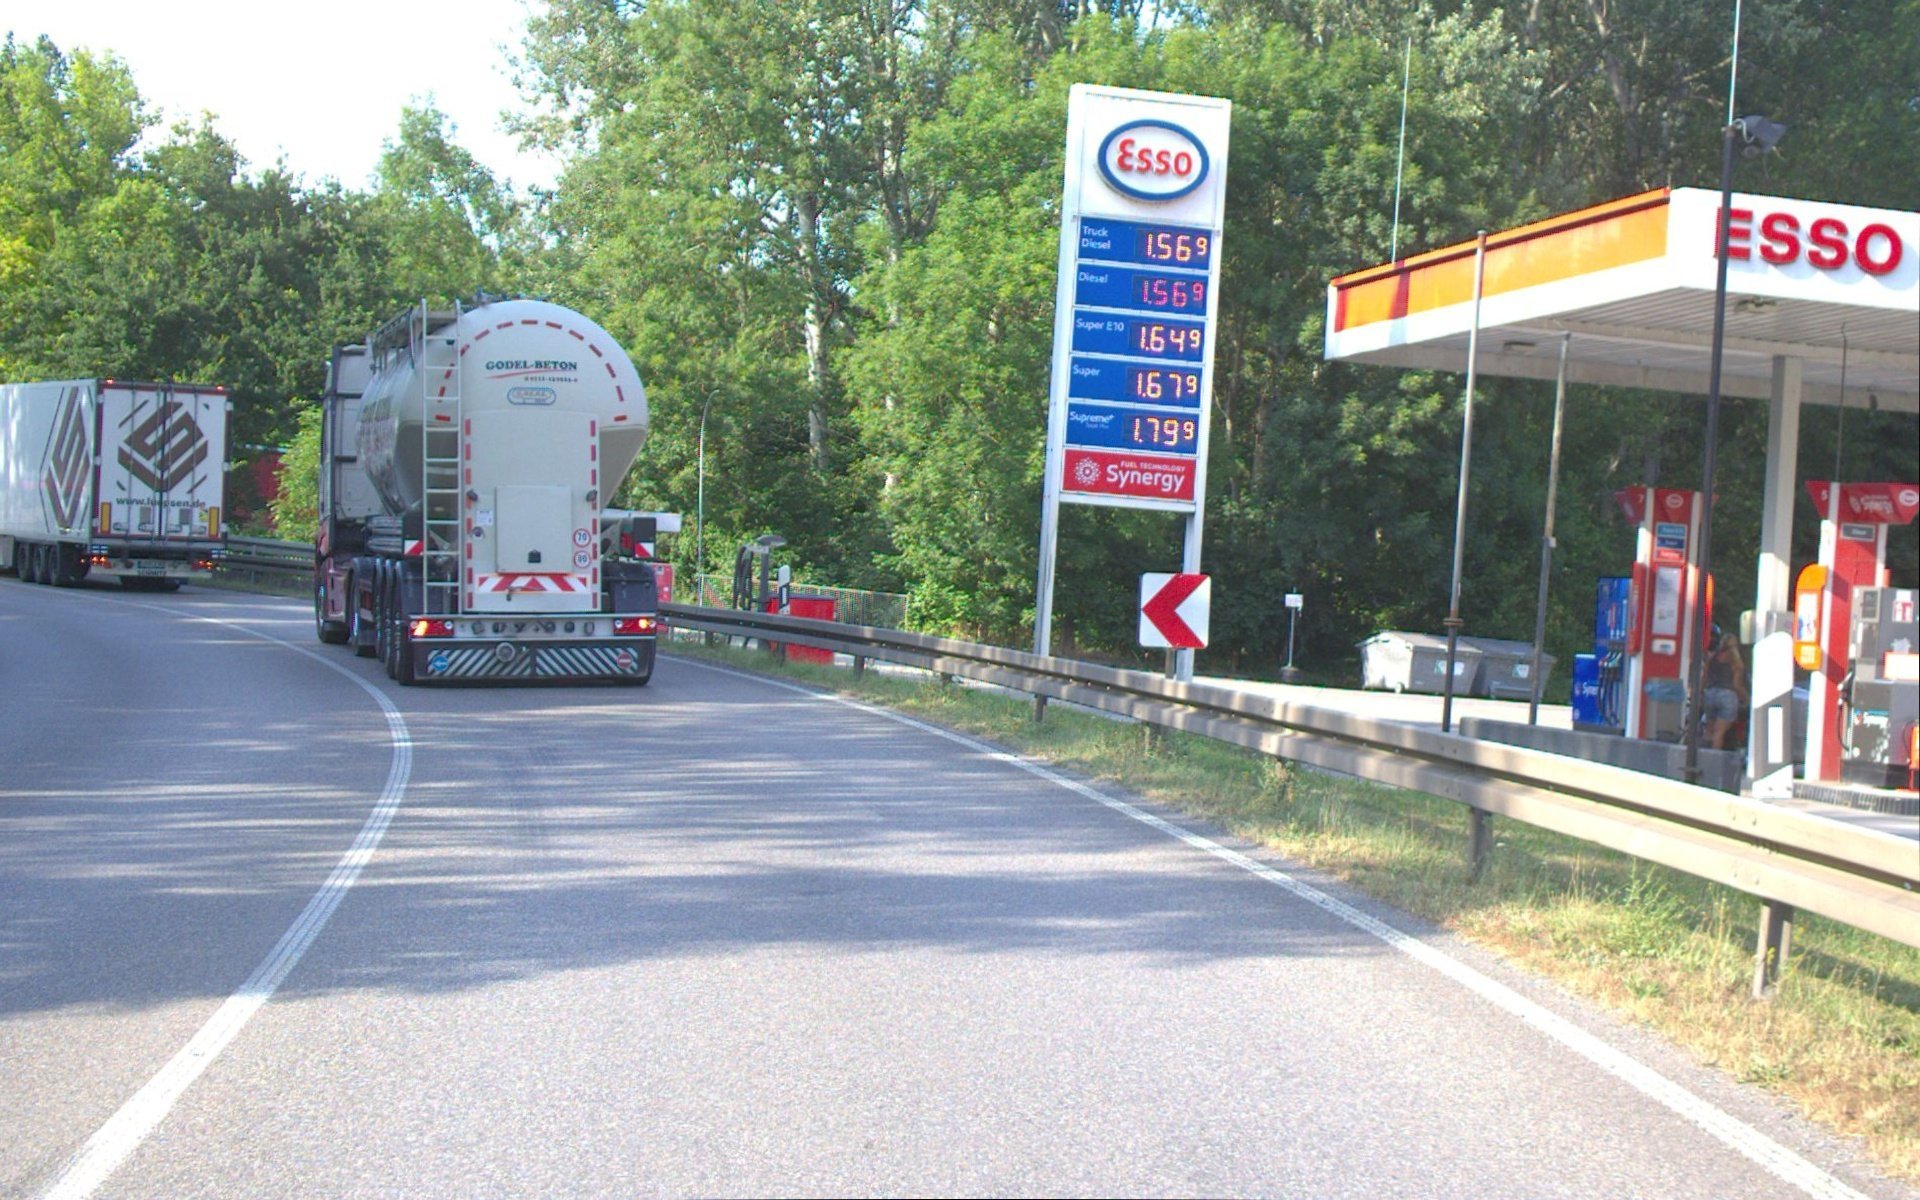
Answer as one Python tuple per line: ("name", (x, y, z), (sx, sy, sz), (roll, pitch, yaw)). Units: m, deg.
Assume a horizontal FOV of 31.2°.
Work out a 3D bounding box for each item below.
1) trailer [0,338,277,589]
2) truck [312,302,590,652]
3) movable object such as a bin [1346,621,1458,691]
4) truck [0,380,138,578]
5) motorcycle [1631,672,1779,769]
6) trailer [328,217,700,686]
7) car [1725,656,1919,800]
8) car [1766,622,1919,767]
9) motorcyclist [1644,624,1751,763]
("trailer", (-17.612, -2.758, 70.049), (3.545, 4.497, 12.987), (3, 1, -27))
("truck", (-6.429, -1.483, 42.727), (2.823, 4.021, 5.896), (0, 1, -14))
("movable object such as a bin", (10.325, 1.304, 80.435), (1.265, 1.415, 2.558), (6, -1, -26))
("truck", (-21.046, -2.709, 76.293), (3.450, 4.072, 6.491), (3, 1, -31))
("motorcycle", (8.914, 1.431, 41.229), (0.761, 1.008, 2.342), (3, 1, -13))
("trailer", (-5.126, -1.520, 37.694), (2.886, 4.439, 9.609), (1, 1, -14))
("car", (10.263, 1.409, 37.936), (1.842, 1.315, 4.391), (3, 1, -12))
("car", (12.268, 1.220, 43.024), (2.091, 1.622, 5.182), (3, 1, -13))
("motorcyclist", (8.888, 1.120, 41.463), (0.858, 1.599, 0.928), (4, 0, -12))
